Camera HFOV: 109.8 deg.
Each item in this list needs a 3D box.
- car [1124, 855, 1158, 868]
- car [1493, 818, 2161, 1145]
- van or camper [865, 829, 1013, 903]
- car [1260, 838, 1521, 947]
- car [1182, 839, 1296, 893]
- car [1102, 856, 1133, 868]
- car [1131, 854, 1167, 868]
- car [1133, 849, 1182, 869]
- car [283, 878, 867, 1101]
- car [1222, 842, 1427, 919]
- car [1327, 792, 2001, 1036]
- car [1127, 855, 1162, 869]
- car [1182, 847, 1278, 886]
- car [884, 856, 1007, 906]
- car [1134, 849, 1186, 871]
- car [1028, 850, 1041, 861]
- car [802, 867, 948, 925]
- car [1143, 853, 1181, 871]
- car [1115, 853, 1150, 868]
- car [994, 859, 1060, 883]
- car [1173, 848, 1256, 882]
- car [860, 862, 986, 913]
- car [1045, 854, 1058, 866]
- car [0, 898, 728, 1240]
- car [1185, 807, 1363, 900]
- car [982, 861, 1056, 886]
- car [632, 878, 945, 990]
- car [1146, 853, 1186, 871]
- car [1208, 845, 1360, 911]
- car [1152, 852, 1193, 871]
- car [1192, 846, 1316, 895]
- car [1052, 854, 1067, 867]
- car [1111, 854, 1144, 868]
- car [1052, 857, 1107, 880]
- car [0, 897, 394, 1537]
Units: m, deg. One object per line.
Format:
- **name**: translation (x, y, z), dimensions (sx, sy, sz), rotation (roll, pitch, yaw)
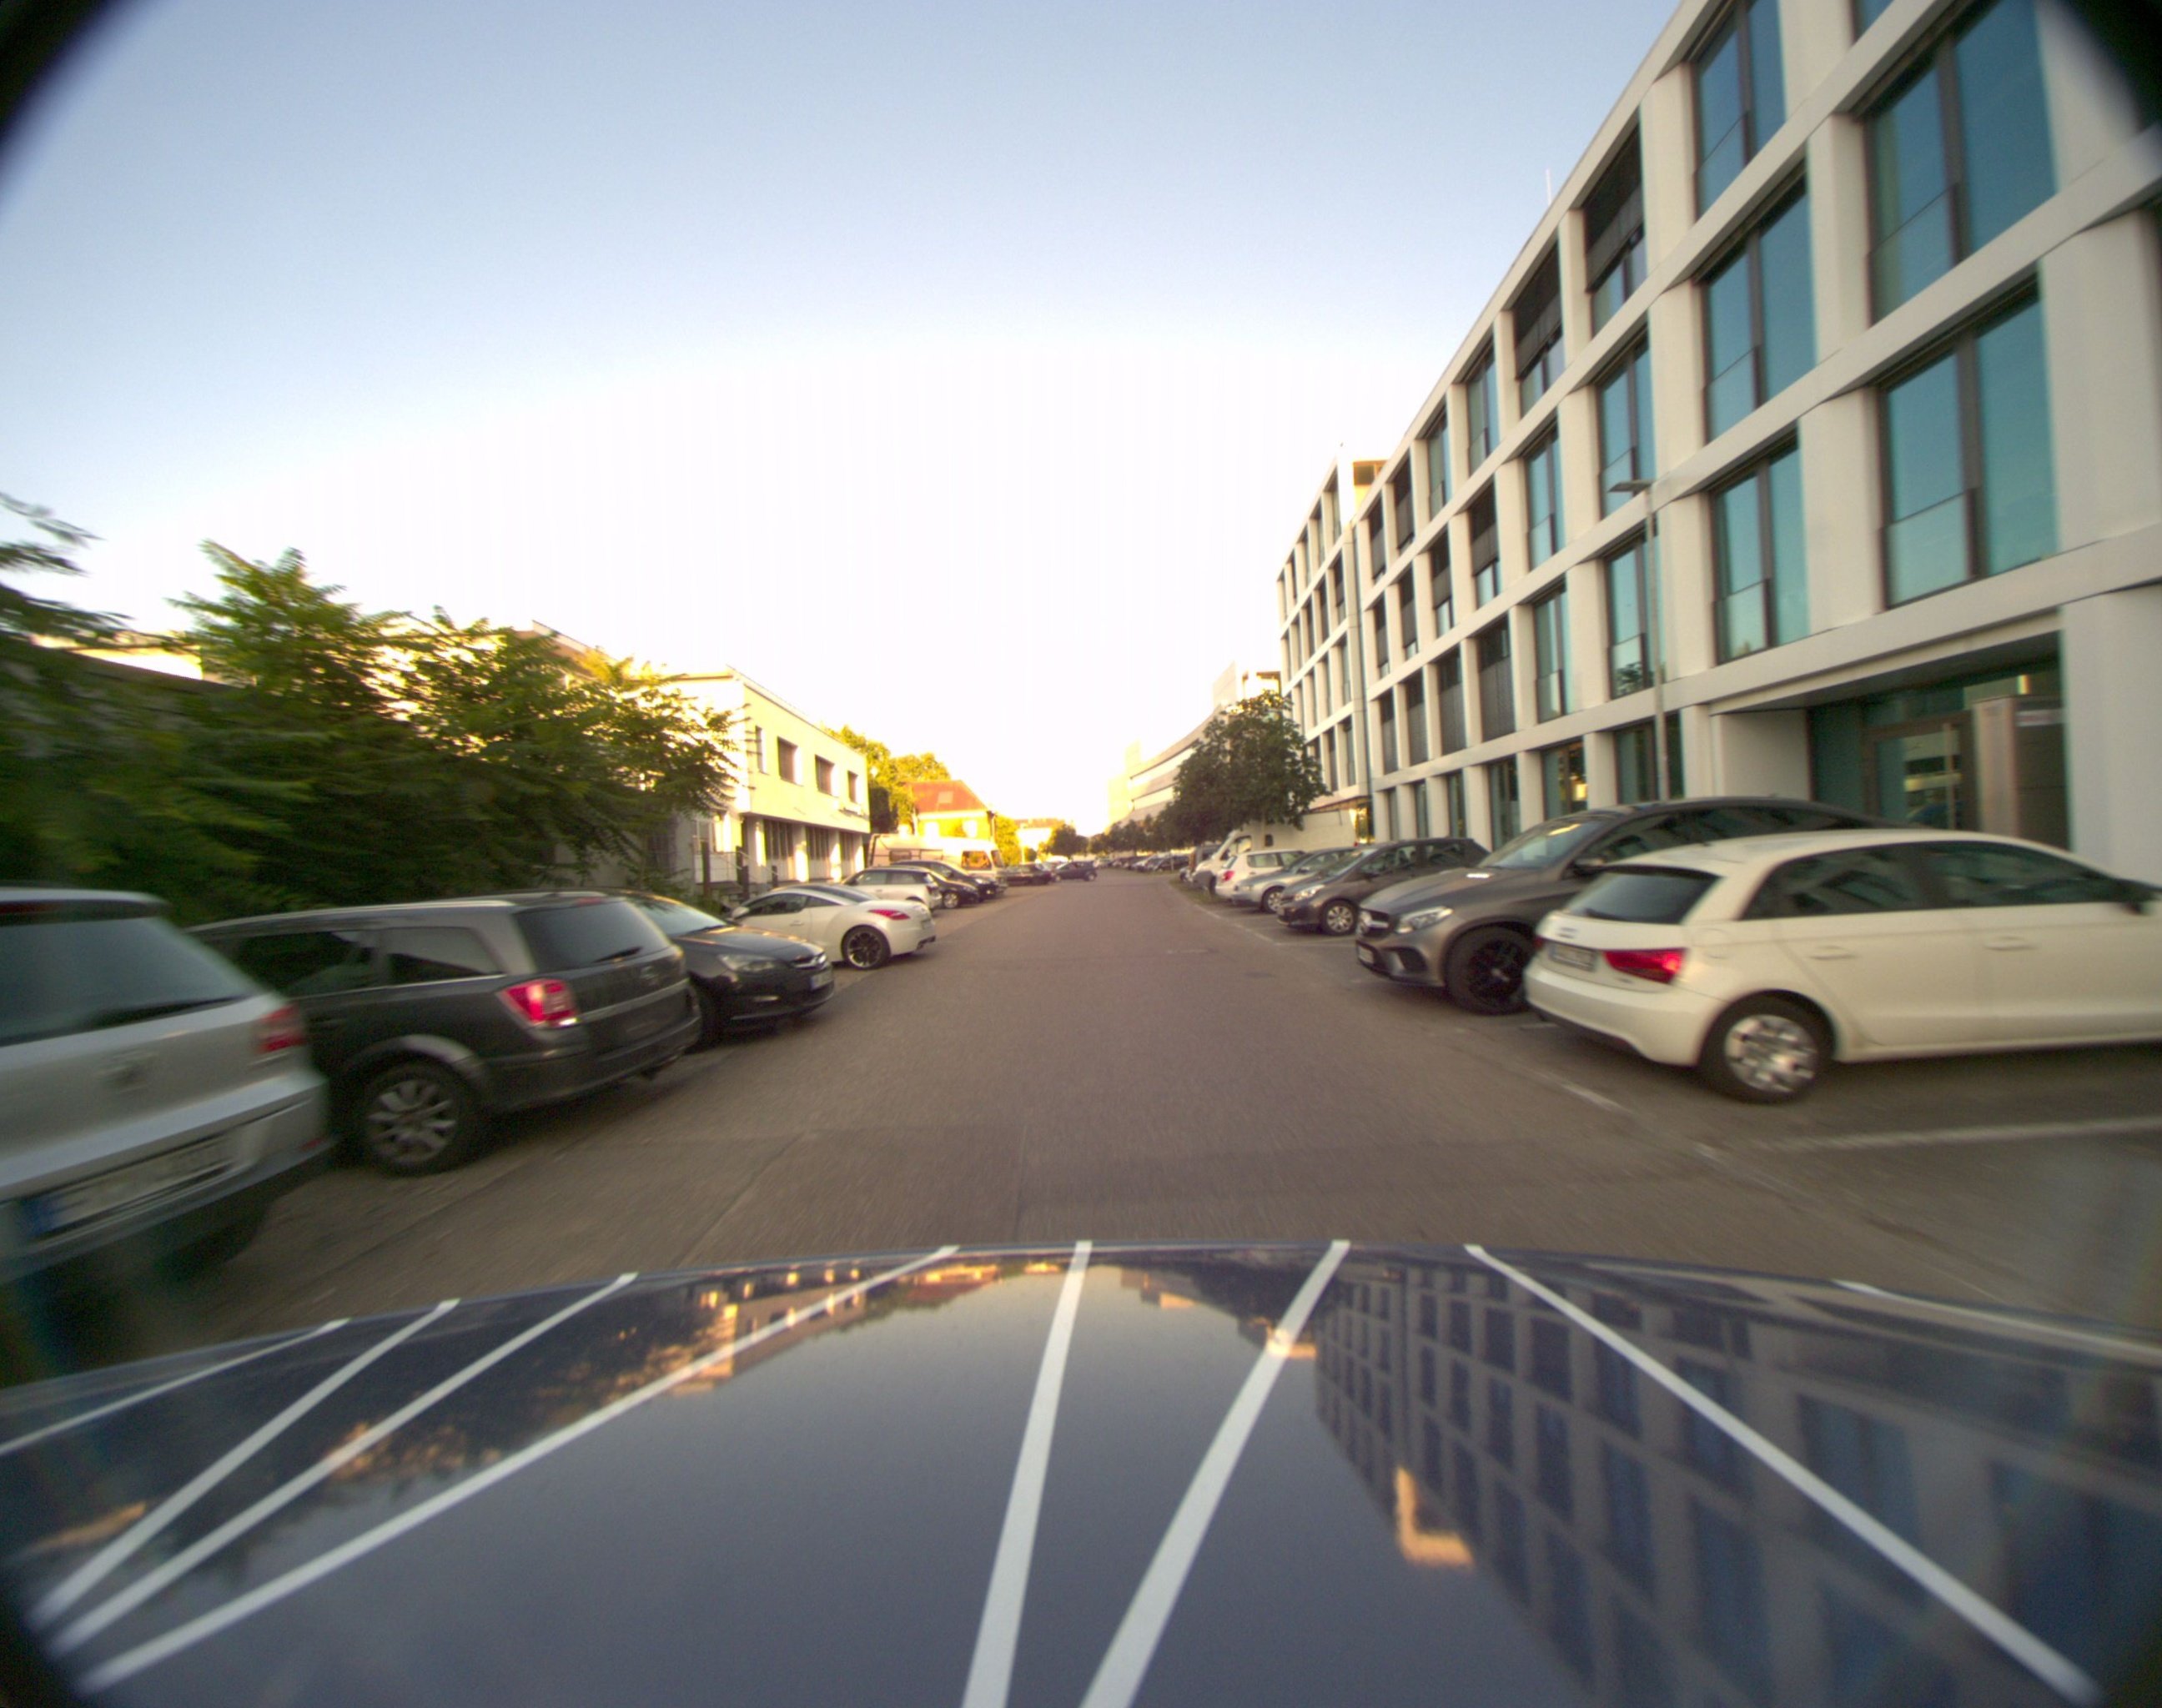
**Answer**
- **car**: translation (7.246, 0.912, 92.608), dimensions (3.812, 1.352, 1.799), rotation (-5, 0, -4)
- **car**: translation (4.884, 0.661, 4.681), dimensions (3.674, 1.502, 1.697), rotation (-4, 0, 6)
- **van or camper**: translation (-5.958, 0.490, 32.619), dimensions (5.795, 2.847, 2.487), rotation (-2, 0, 0)
- **car**: translation (5.279, 0.636, 13.311), dimensions (3.791, 1.513, 1.694), rotation (-4, 0, 1)
- **car**: translation (6.371, 0.480, 30.882), dimensions (4.119, 1.806, 1.816), rotation (-4, 0, -1)
- **car**: translation (5.218, 1.110, 108.209), dimensions (4.028, 1.340, 1.798), rotation (-5, 0, -9)
- **car**: translation (7.821, 0.805, 87.363), dimensions (3.812, 1.352, 1.799), rotation (-5, 0, -4)
- **car**: translation (8.570, 0.575, 85.292), dimensions (5.083, 1.816, 1.889), rotation (-5, 0, -4)
- **car**: translation (-4.474, 1.169, 7.222), dimensions (4.212, 1.494, 1.890), rotation (-4, 1, 3)
- **car**: translation (5.747, 0.623, 18.370), dimensions (4.317, 1.486, 1.795), rotation (-4, 0, 4)
- **car**: translation (4.983, 0.533, 7.214), dimensions (4.628, 1.696, 2.005), rotation (-4, 0, 6)
- **car**: translation (7.520, 0.918, 90.035), dimensions (3.812, 1.352, 1.799), rotation (-5, 0, -4)
- **car**: translation (6.963, 0.571, 35.816), dimensions (4.118, 1.509, 1.781), rotation (-4, 0, 2)
- **car**: translation (-5.201, 1.021, 29.536), dimensions (4.249, 1.731, 1.968), rotation (-2, 0, 6)
- **car**: translation (8.319, 0.628, 80.312), dimensions (5.083, 1.870, 1.889), rotation (-5, 0, -4)
- **car**: translation (-6.744, 0.204, 111.536), dimensions (1.770, 1.454, 4.367), rotation (-2, 0, -3)
- **car**: translation (-5.883, 1.173, 21.984), dimensions (3.714, 1.470, 1.712), rotation (-2, 0, -1)
- **car**: translation (8.280, 0.812, 77.634), dimensions (3.654, 1.416, 1.726), rotation (-5, 0, 1)
- **car**: translation (6.659, 0.834, 98.248), dimensions (4.028, 1.574, 1.798), rotation (-5, 0, -9)
- **car**: translation (-3.429, 1.085, 48.726), dimensions (4.066, 1.399, 1.896), rotation (-2, -1, -1)
- **car**: translation (7.202, 0.576, 41.331), dimensions (4.118, 1.509, 1.845), rotation (-4, 0, 1)
- **car**: translation (-5.425, 1.125, 26.482), dimensions (4.015, 1.554, 1.712), rotation (-2, 0, -3)
- **car**: translation (-4.046, 0.843, 103.734), dimensions (1.770, 1.454, 4.367), rotation (-2, 0, -3)
- **car**: translation (-4.709, 1.205, 4.810), dimensions (3.993, 1.437, 1.827), rotation (-4, 1, 1)
- **car**: translation (6.364, 0.012, 25.627), dimensions (5.393, 2.617, 2.079), rotation (-4, 0, 4)
- **car**: translation (-3.759, 1.172, 46.309), dimensions (4.326, 1.325, 1.896), rotation (-2, 0, -1)
- **car**: translation (-4.535, 1.227, 12.171), dimensions (4.212, 1.359, 1.824), rotation (-4, 0, 5)
- **car**: translation (8.340, 0.792, 74.987), dimensions (3.654, 1.416, 1.726), rotation (-5, 0, 2)
- **car**: translation (5.524, 0.635, 21.026), dimensions (3.716, 1.486, 1.708), rotation (-4, 0, 3)
- **car**: translation (8.661, 0.712, 72.397), dimensions (3.654, 1.538, 1.726), rotation (-5, 0, 2)
- **car**: translation (6.415, 0.614, 28.455), dimensions (4.119, 1.490, 1.774), rotation (-4, 0, -1)
- **car**: translation (-2.646, 0.783, 92.712), dimensions (1.770, 1.454, 4.367), rotation (-2, 0, -3)
- **car**: translation (6.354, 0.919, 103.307), dimensions (4.028, 1.574, 1.798), rotation (-5, 0, -9)
- **car**: translation (-0.127, 1.061, 55.961), dimensions (3.738, 1.486, 1.647), rotation (-3, 0, -15)
- **car**: translation (-4.866, 1.118, 2.151), dimensions (3.994, 1.609, 1.827), rotation (-4, 0, -2)
